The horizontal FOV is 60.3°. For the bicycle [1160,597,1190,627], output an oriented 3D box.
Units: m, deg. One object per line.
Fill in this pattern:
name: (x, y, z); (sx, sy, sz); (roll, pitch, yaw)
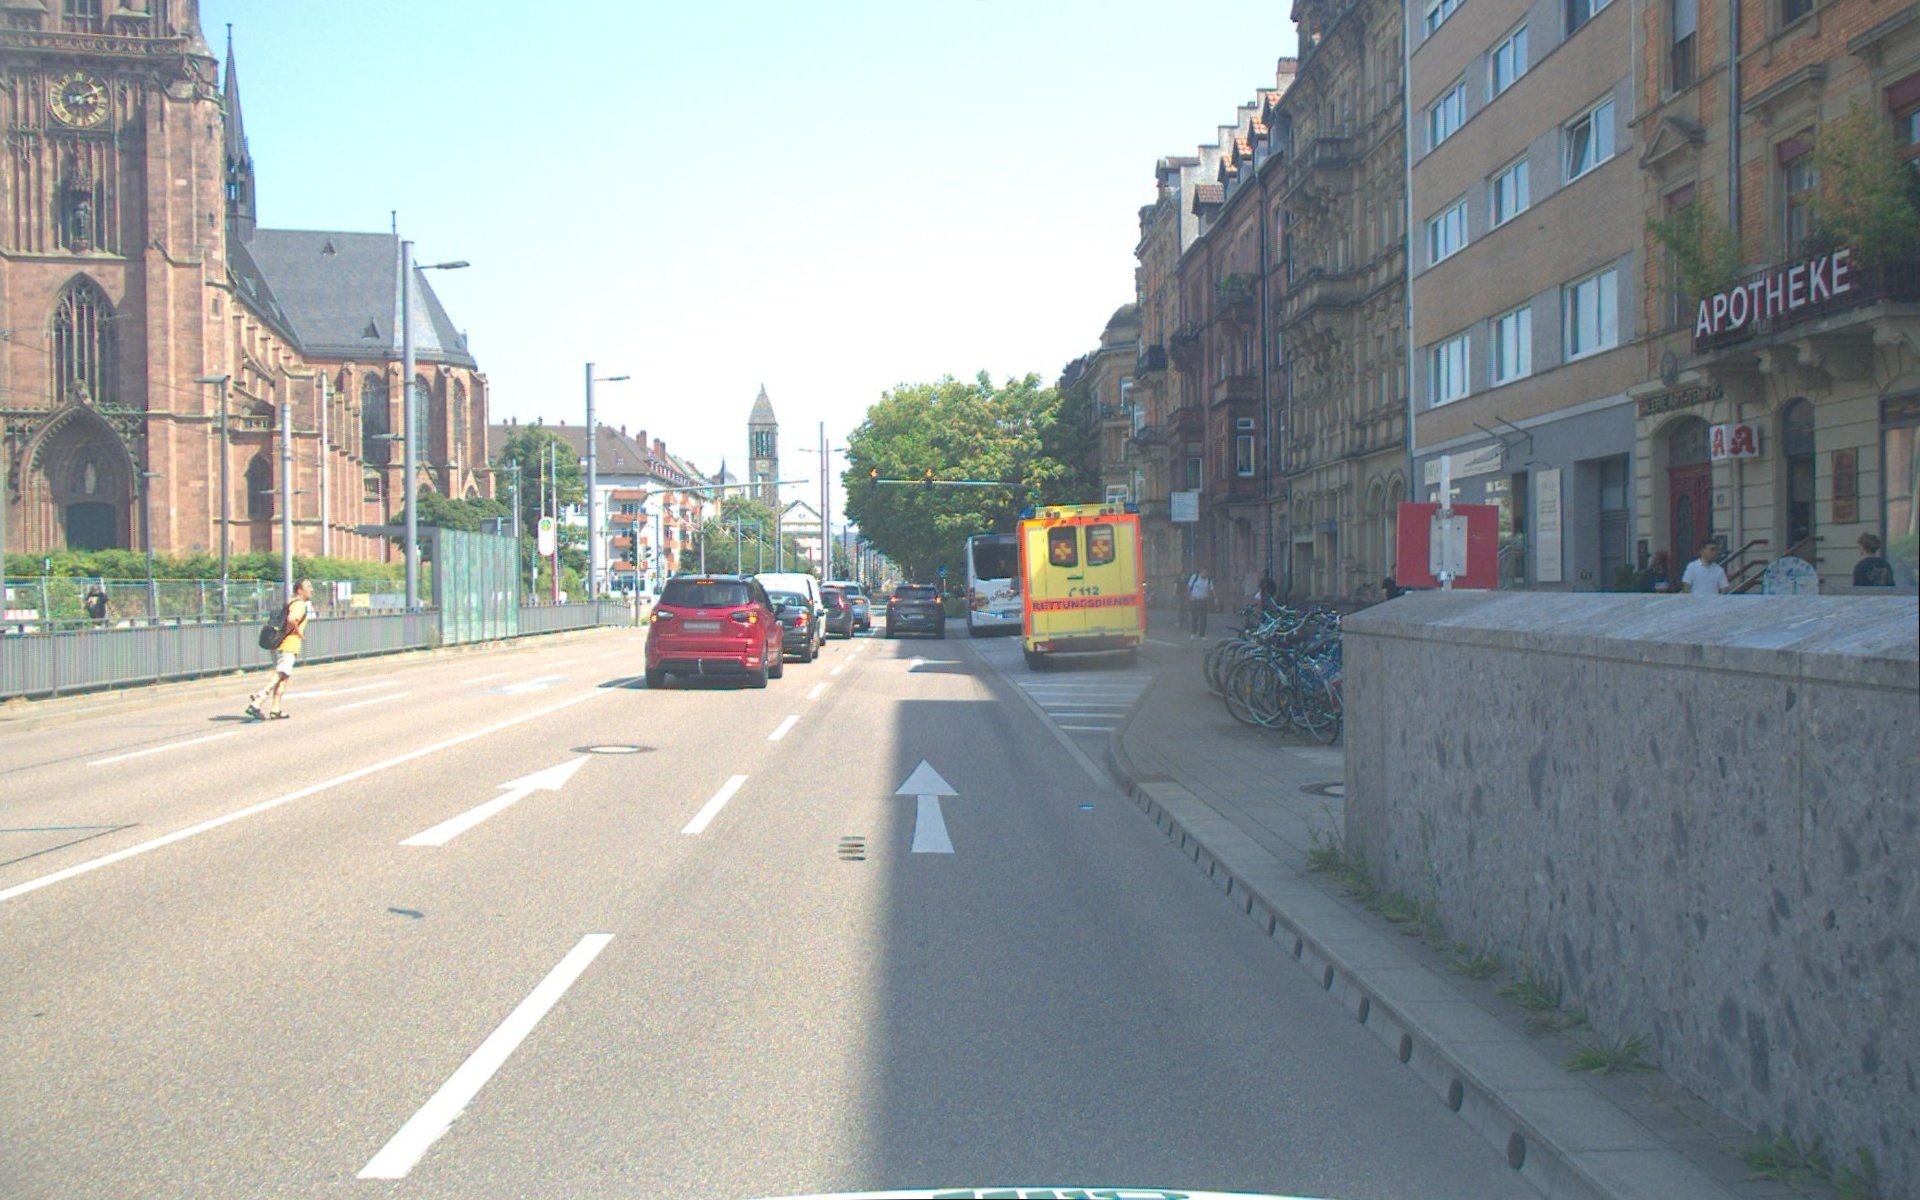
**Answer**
bicycle: (6.486, 0.345, 49.973); (0.577, 0.869, 1.774); (-1, 1, -3)

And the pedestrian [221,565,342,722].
pedestrian: (-7.962, 0.494, 19.422); (0.748, 1.782, 1.065); (-1, 0, 36)

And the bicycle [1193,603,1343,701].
bicycle: (3.563, 0.592, 19.205); (1.624, 1.090, 0.644); (0, 0, -2)

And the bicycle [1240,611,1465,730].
bicycle: (3.735, 0.665, 15.760); (2.080, 1.090, 0.381); (0, 1, -6)

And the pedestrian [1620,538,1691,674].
pedestrian: (9.403, 0.079, 22.377); (0.565, 1.780, 0.679); (-3, 0, -2)

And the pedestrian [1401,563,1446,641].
pedestrian: (9.198, 0.045, 32.847); (0.630, 1.519, 0.789); (-1, 0, -2)

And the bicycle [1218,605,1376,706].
bicycle: (3.744, 0.610, 18.450); (1.624, 1.090, 0.644); (0, 1, -2)

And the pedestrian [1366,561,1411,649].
pedestrian: (8.505, 0.087, 32.840); (0.630, 1.714, 0.789); (-1, 0, -2)

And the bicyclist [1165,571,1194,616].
bicyclist: (6.622, -0.199, 49.928); (0.738, 1.345, 0.581); (-1, 0, -2)

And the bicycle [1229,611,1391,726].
bicycle: (3.416, 0.661, 16.167); (1.506, 1.090, 0.365); (0, 1, -2)

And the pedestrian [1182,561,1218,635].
pedestrian: (5.550, -0.046, 38.209); (0.683, 1.696, 0.602); (-1, 0, 24)

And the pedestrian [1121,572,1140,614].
pedestrian: (6.956, -0.298, 67.577); (0.682, 1.696, 0.603); (-1, 0, 0)

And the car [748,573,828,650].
car: (-4.254, 0.290, 41.434); (1.754, 1.811, 3.997); (-1, 0, -3)

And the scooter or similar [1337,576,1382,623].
scooter or similar: (10.555, -0.016, 43.742); (0.505, 1.217, 1.296); (-1, 0, -21)

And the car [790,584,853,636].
car: (-4.126, 0.298, 49.785); (1.754, 1.498, 3.997); (-1, 0, -3)

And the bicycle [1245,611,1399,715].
bicycle: (3.718, 0.641, 17.021); (1.506, 1.034, 0.365); (0, 1, -2)

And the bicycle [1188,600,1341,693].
bicycle: (3.655, 0.554, 19.946); (1.739, 1.090, 0.644); (0, 0, 3)

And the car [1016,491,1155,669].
car: (2.229, -0.378, 30.824); (2.251, 2.938, 5.601); (-2, 1, 2)

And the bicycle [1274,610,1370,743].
bicycle: (3.187, 0.644, 14.664); (0.466, 1.089, 1.505); (-1, 0, -2)

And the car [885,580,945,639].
car: (-1.432, 0.293, 51.224); (1.754, 1.707, 3.997); (-1, 0, -3)

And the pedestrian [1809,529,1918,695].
pedestrian: (10.624, 0.132, 19.457); (0.826, 1.878, 0.684); (-3, 0, -11)

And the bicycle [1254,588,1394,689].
bicycle: (4.563, 0.474, 20.787); (1.638, 1.237, 0.644); (0, 0, 3)

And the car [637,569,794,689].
car: (-3.613, 0.379, 25.094); (1.726, 1.646, 4.082); (-1, 1, 0)

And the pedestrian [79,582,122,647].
pedestrian: (-24.184, 0.406, 46.548); (0.812, 1.782, 0.720); (-1, 0, -1)

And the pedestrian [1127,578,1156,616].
pedestrian: (9.017, -0.149, 82.318); (1.224, 1.782, 1.526); (-1, 2, -1)

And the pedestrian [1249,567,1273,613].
pedestrian: (10.614, -0.359, 58.325); (0.611, 1.621, 0.695); (-1, 0, -7)

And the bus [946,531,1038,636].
bus: (0.905, -0.552, 55.759); (2.482, 3.084, 12.432); (-1, 0, -1)

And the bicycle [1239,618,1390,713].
bicycle: (3.721, 0.683, 17.396); (1.506, 0.969, 0.365); (0, 1, -2)

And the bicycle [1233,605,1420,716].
bicycle: (3.676, 0.601, 16.618); (1.798, 1.090, 0.365); (0, 1, -2)

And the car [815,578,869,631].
car: (-4.040, 0.166, 57.310); (1.754, 1.728, 3.997); (-1, 0, -3)

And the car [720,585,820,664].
car: (-3.774, 0.444, 33.414); (1.754, 1.456, 3.998); (-1, 1, -3)

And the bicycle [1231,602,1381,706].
bicycle: (3.715, 0.574, 17.813); (1.506, 1.090, 0.472); (0, 1, -2)

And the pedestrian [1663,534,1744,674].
pedestrian: (10.017, 0.049, 22.308); (0.587, 1.826, 0.879); (-3, 0, -2)

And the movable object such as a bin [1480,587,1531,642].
movable object such as a bin: (10.883, 0.292, 32.995); (0.643, 1.066, 0.752); (-2, 1, -45)
